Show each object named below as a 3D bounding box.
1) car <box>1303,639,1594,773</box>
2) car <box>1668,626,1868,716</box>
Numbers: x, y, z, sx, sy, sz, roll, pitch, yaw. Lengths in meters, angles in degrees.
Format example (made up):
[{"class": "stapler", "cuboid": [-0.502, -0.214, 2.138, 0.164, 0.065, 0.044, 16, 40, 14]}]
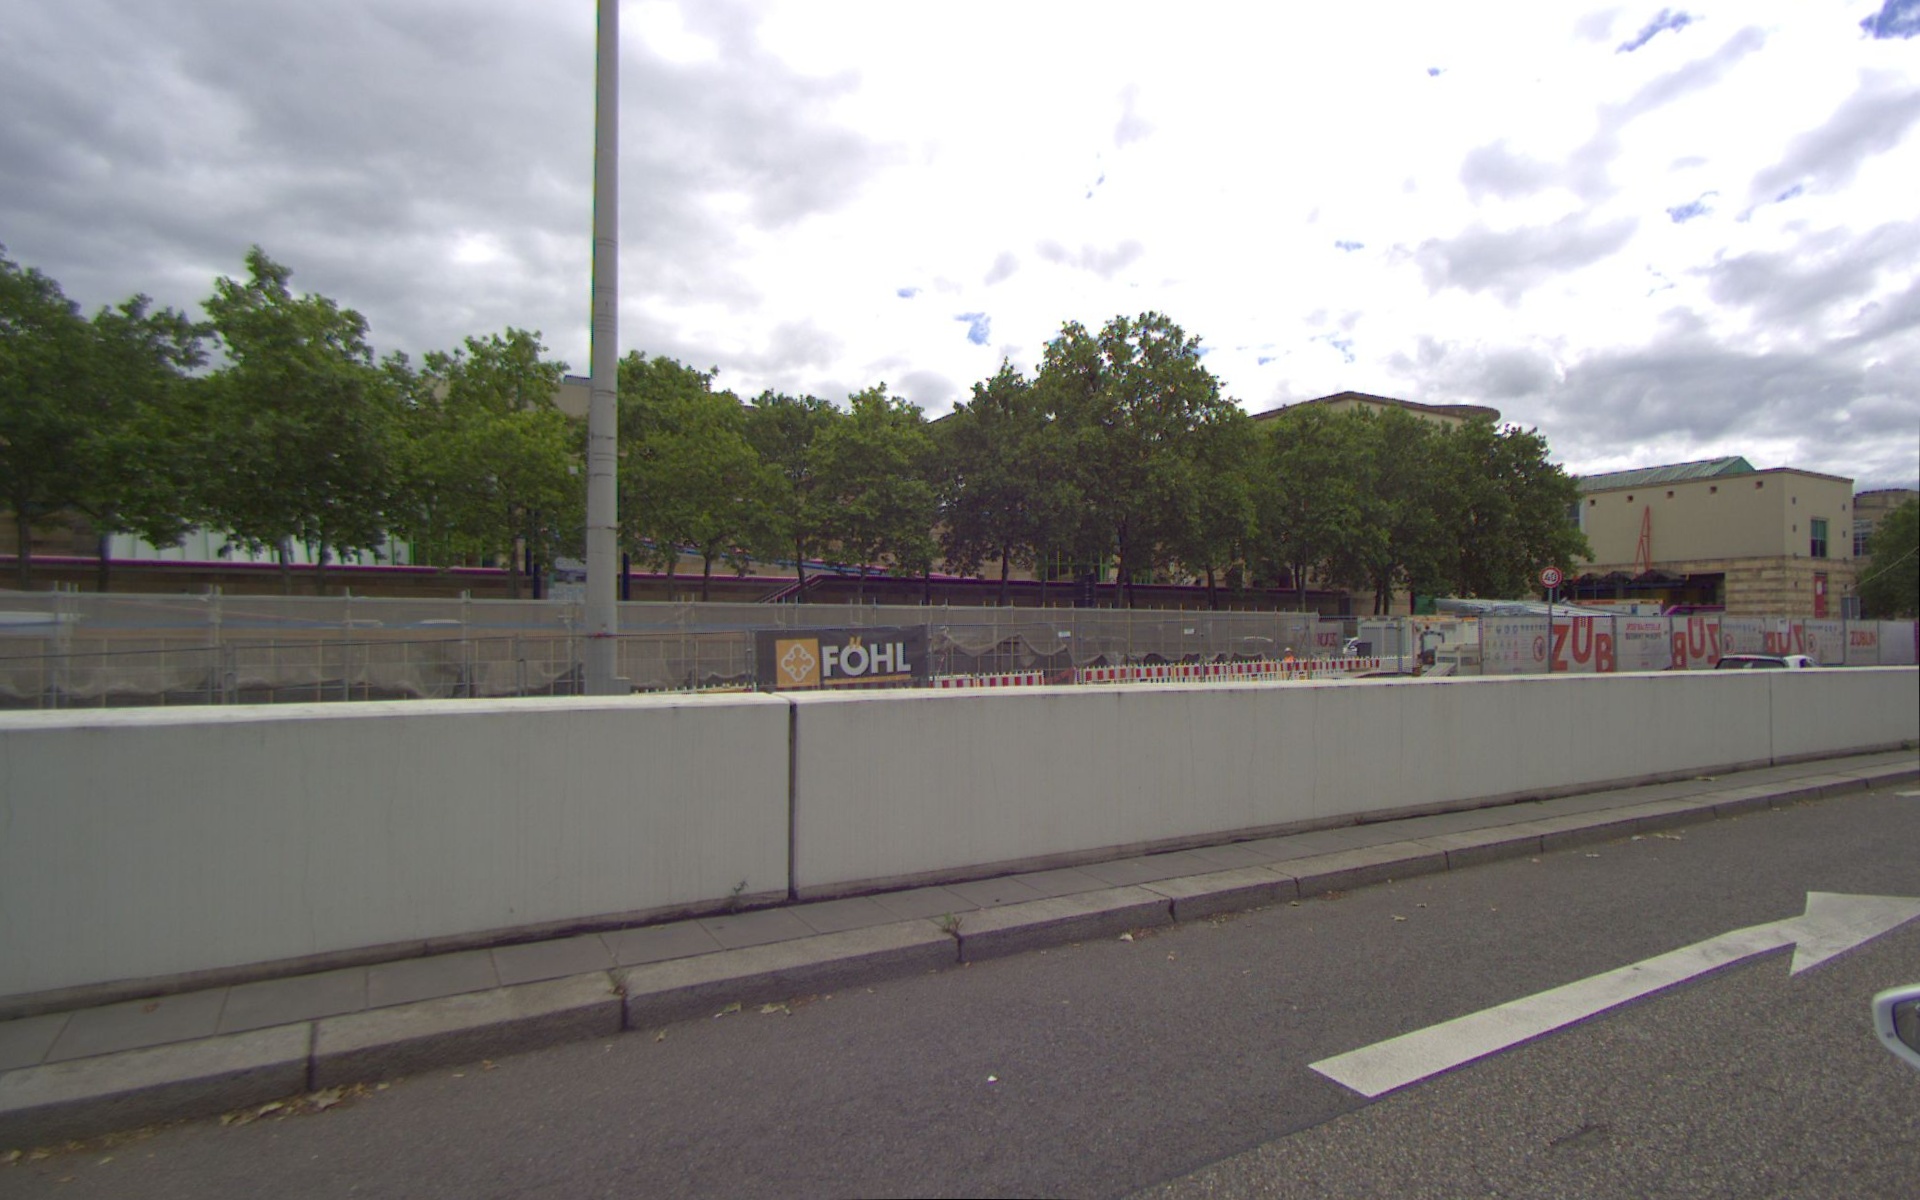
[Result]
[{"class": "car", "cuboid": [7.081, 1.413, 14.510, 3.955, 1.663, 1.983, 2, -2, -31]}, {"class": "car", "cuboid": [16.555, 1.395, 20.557, 3.955, 1.663, 1.983, 2, -2, -31]}]
